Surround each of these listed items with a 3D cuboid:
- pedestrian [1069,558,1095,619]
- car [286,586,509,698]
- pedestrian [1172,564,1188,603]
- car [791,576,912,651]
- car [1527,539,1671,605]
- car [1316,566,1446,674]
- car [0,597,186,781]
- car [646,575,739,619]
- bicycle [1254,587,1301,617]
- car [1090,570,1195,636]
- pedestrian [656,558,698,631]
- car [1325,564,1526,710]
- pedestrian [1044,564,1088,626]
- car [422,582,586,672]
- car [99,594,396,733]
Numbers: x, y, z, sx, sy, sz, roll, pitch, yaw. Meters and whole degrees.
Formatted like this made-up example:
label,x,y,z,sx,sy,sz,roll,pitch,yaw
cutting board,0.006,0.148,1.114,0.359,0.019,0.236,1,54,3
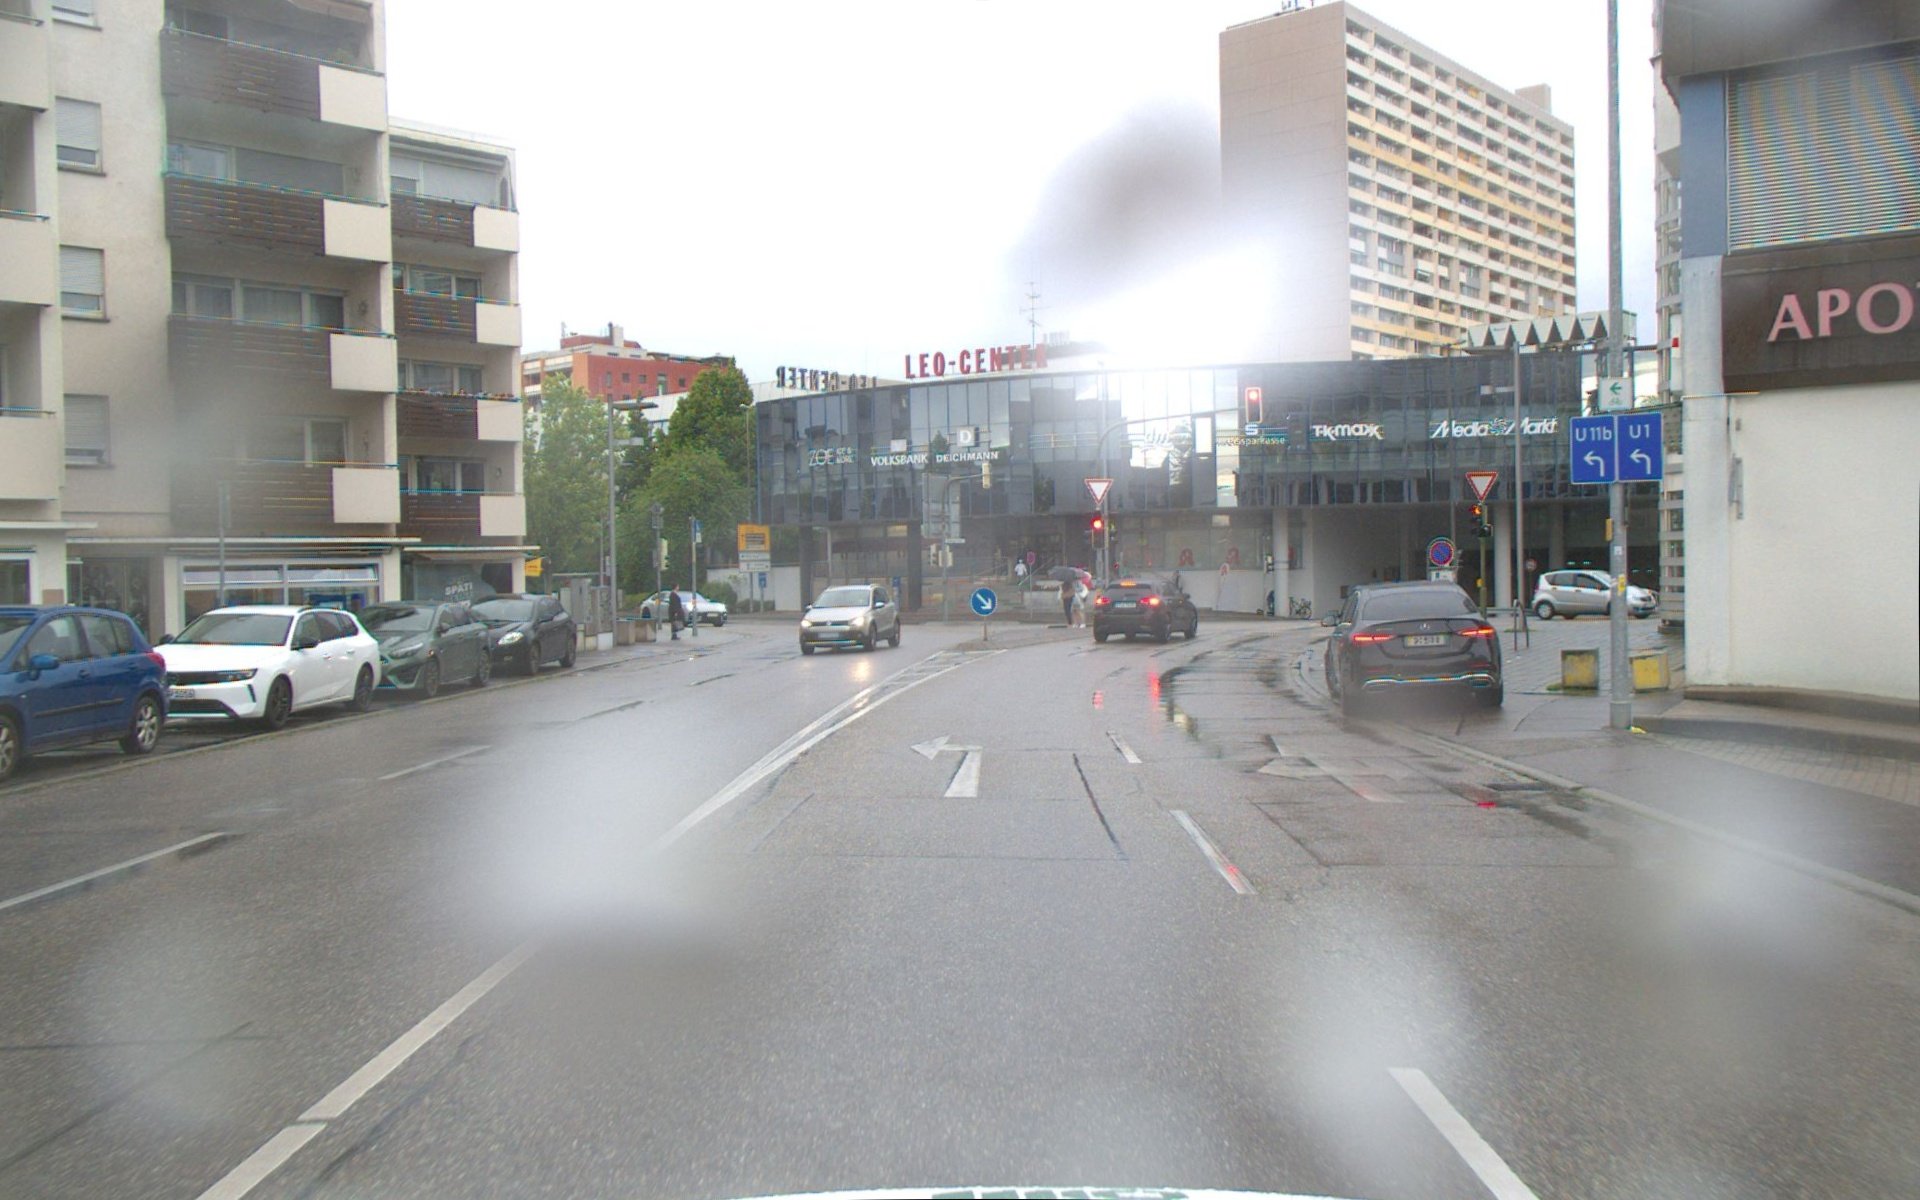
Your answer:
label,x,y,z,sx,sy,sz,roll,pitch,yaw
pedestrian,3.483,-0.328,47.231,0.597,1.688,0.672,2,2,-4
car,-8.865,0.603,26.521,1.894,1.568,4.522,-1,1,1
pedestrian,11.663,-0.873,87.637,0.770,2.049,0.671,-1,0,11
car,-2.425,0.278,38.040,1.786,1.464,3.845,-3,2,11
car,20.817,-0.908,53.980,1.983,2.049,3.939,-2,1,-42
car,6.800,0.264,27.032,1.662,1.511,4.004,-4,1,10
car,-9.180,0.796,15.606,1.617,1.547,4.325,-1,1,1
car,-10.967,-0.143,67.607,1.978,1.538,4.378,1,3,-36
bicycle,16.686,0.105,86.929,2.374,1.489,0.656,-1,2,-1
car,4.414,0.033,39.518,1.766,1.444,4.003,-1,1,17
pedestrian,-8.084,-0.157,47.214,0.733,2.048,0.921,3,1,22
car,5.519,0.404,20.158,1.951,1.560,4.651,0,0,11
pedestrian,2.973,-0.138,46.409,0.898,1.688,0.749,2,2,-27
car,-8.787,0.470,32.278,1.894,1.568,4.274,-1,1,1
car,-8.941,0.722,21.240,1.658,1.489,4.685,-1,1,1
